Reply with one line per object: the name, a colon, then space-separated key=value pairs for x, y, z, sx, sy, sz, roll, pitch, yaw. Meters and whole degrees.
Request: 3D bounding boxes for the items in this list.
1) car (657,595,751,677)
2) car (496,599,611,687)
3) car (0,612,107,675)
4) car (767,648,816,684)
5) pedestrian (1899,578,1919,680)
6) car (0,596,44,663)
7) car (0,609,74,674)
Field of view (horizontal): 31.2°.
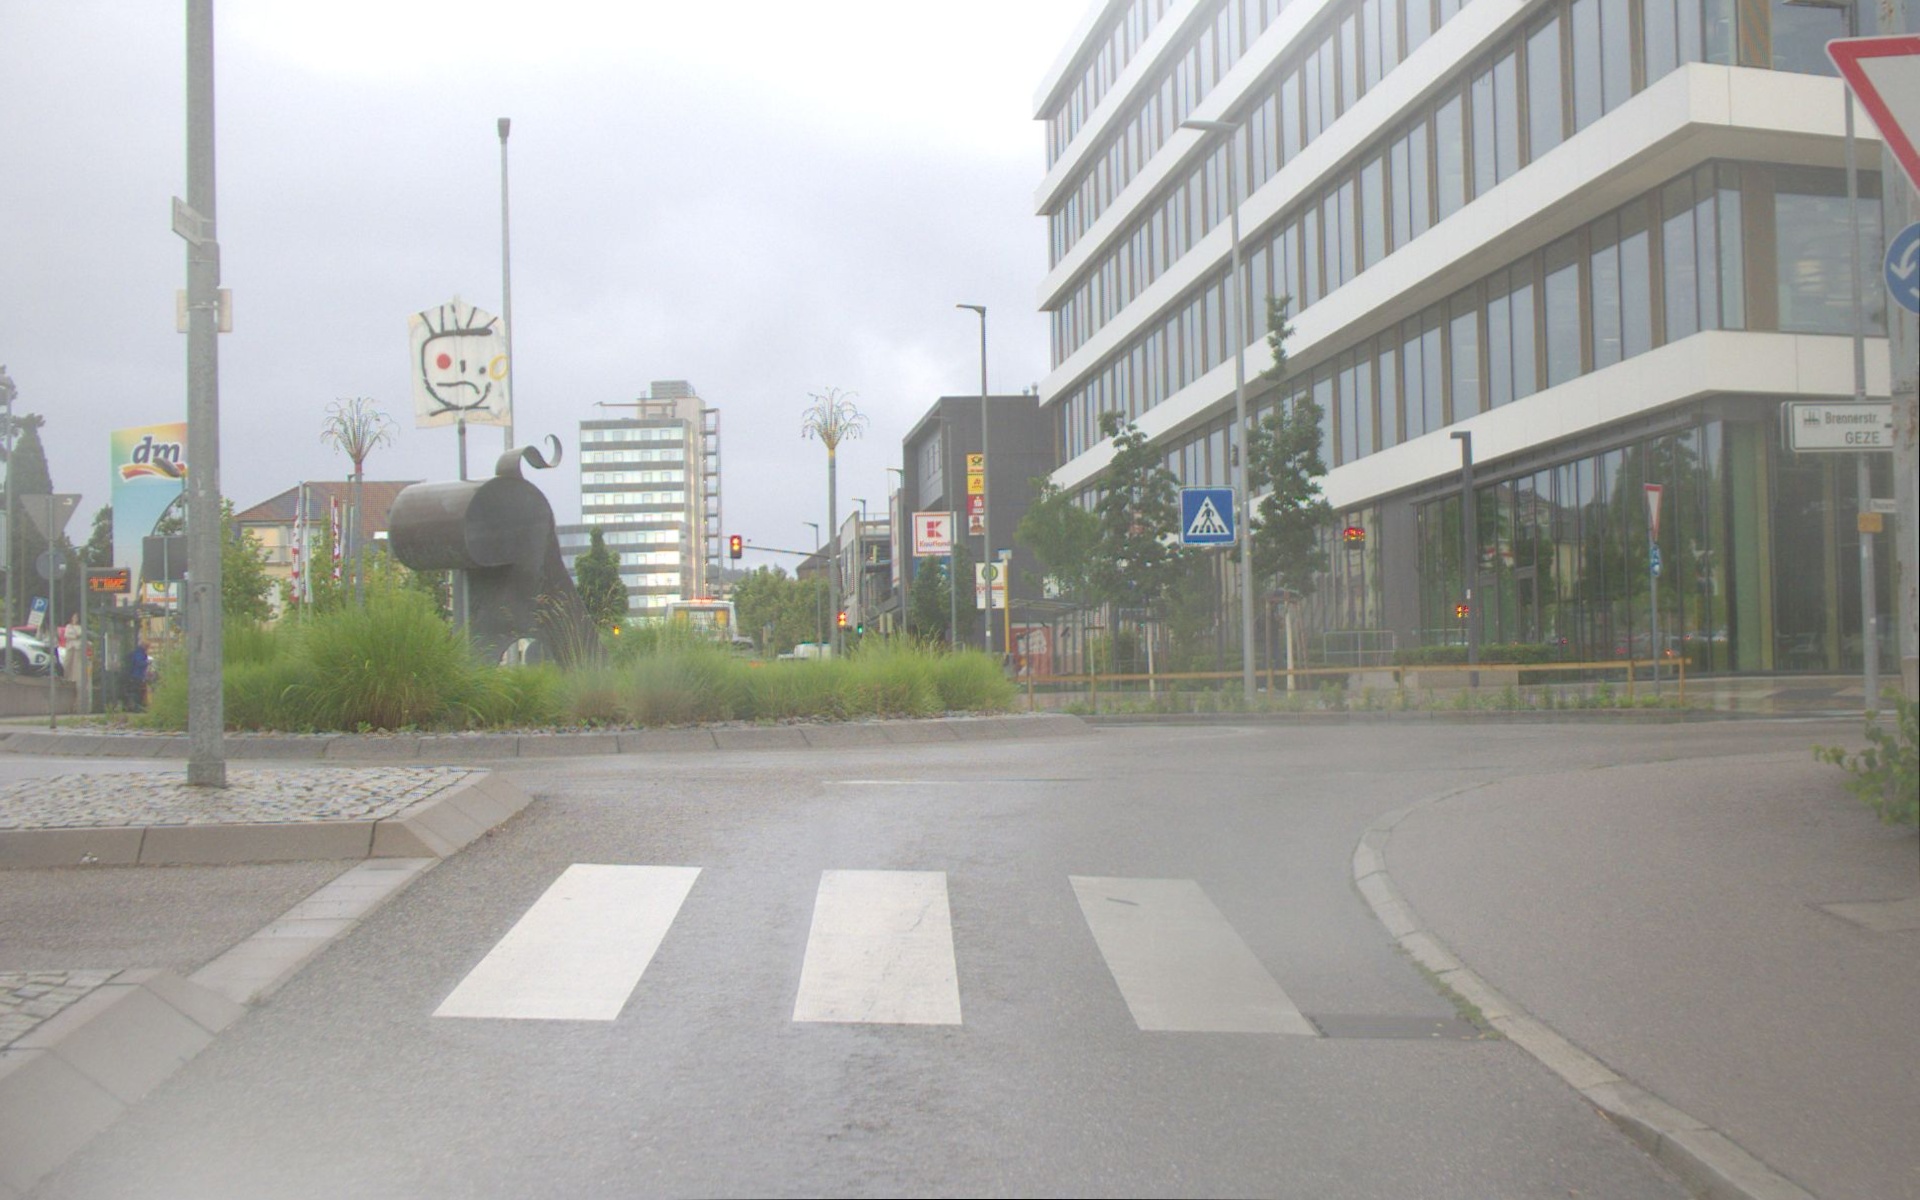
car: x=-6.227 y=0.903 z=83.925 sx=1.993 sy=1.897 sz=3.999 roll=0 pitch=-2 yaw=0
car: x=-7.034 y=0.727 z=59.742 sx=1.595 sy=1.405 sz=3.500 roll=0 pitch=1 yaw=0
car: x=-21.998 y=1.015 z=79.802 sx=4.021 sy=1.415 sz=1.768 roll=0 pitch=-2 yaw=-6
car: x=-7.054 y=2.756 z=143.302 sx=1.794 sy=1.405 sz=4.216 roll=1 pitch=-2 yaw=-6
pedestrian: x=17.299 y=0.530 z=62.167 sx=0.594 sy=1.837 sz=0.453 roll=0 pitch=-2 yaw=18
car: x=-22.271 y=0.645 z=75.588 sx=4.020 sy=1.415 sz=1.769 roll=1 pitch=-2 yaw=-12
car: x=-22.229 y=0.935 z=77.754 sx=4.021 sy=1.415 sz=1.768 roll=0 pitch=-2 yaw=-6
